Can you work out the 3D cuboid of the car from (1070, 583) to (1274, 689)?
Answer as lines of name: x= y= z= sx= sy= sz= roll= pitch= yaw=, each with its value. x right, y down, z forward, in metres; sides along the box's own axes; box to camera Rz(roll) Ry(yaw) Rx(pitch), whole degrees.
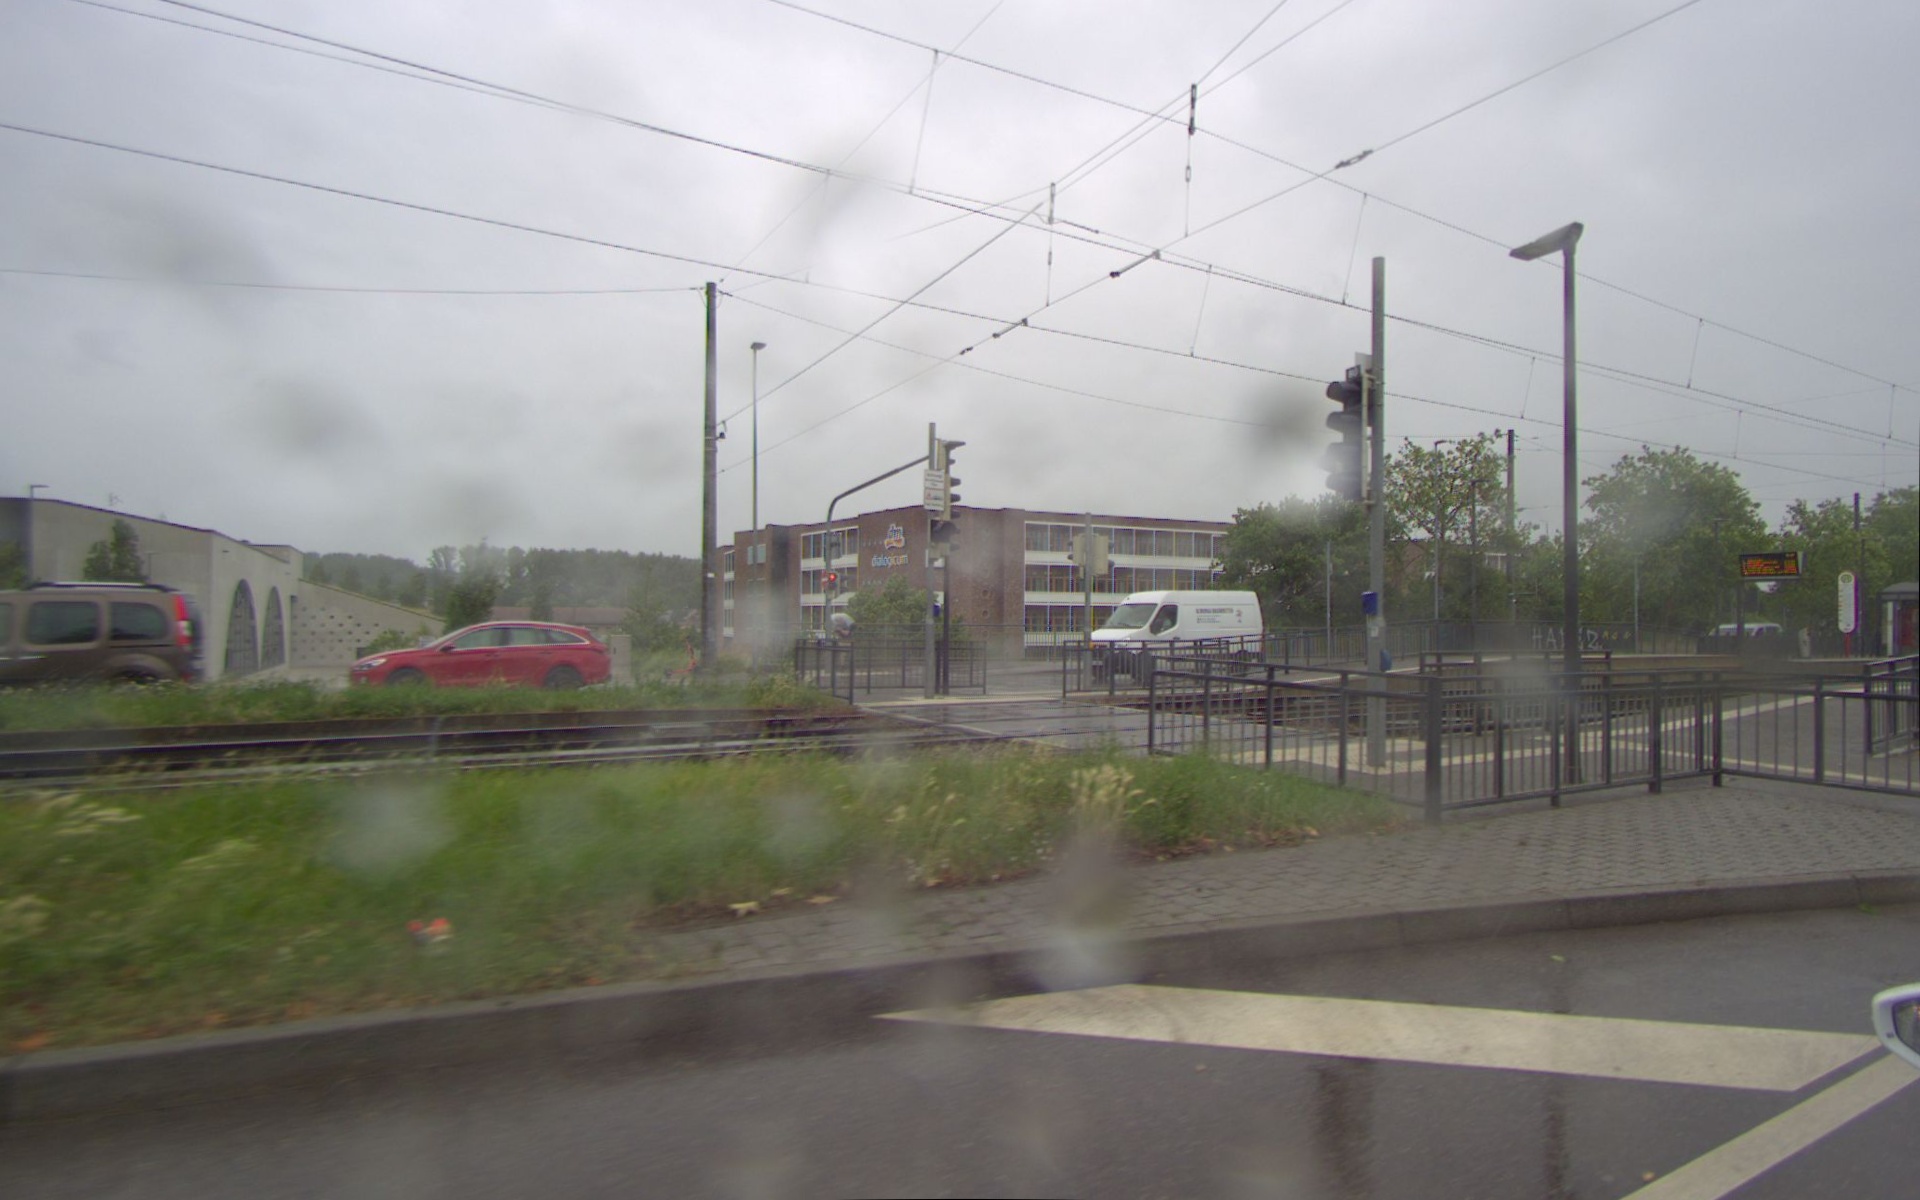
car: x=6.020 y=0.978 z=28.251 sx=5.671 sy=2.749 sz=2.109 roll=1 pitch=0 yaw=-30

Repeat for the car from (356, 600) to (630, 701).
car: x=-8.916 y=0.914 z=19.336 sx=4.570 sy=1.729 sz=1.984 roll=1 pitch=0 yaw=-30

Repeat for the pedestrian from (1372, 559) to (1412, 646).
pedestrian: x=20.555 y=0.142 z=47.779 sx=1.508 sy=4.082 sz=1.158 roll=2 pitch=-1 yaw=-41

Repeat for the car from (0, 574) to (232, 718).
car: x=-12.495 y=0.574 z=13.465 sx=4.208 sy=1.795 sz=1.984 roll=1 pitch=0 yaw=-30

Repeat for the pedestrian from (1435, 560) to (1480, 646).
pedestrian: x=23.952 y=0.154 z=48.352 sx=1.490 sy=4.082 sz=1.172 roll=1 pitch=0 yaw=-2

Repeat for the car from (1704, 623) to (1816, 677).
car: x=32.334 y=1.978 z=40.567 sx=4.698 sy=2.040 sz=1.984 roll=1 pitch=0 yaw=-31

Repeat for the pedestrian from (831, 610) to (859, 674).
pedestrian: x=-3.719 y=1.344 z=32.450 sx=0.688 sy=2.040 sz=0.695 roll=1 pitch=0 yaw=-29

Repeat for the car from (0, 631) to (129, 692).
car: x=-25.861 y=1.664 z=28.167 sx=1.964 sy=1.461 sz=4.368 roll=1 pitch=0 yaw=-9
